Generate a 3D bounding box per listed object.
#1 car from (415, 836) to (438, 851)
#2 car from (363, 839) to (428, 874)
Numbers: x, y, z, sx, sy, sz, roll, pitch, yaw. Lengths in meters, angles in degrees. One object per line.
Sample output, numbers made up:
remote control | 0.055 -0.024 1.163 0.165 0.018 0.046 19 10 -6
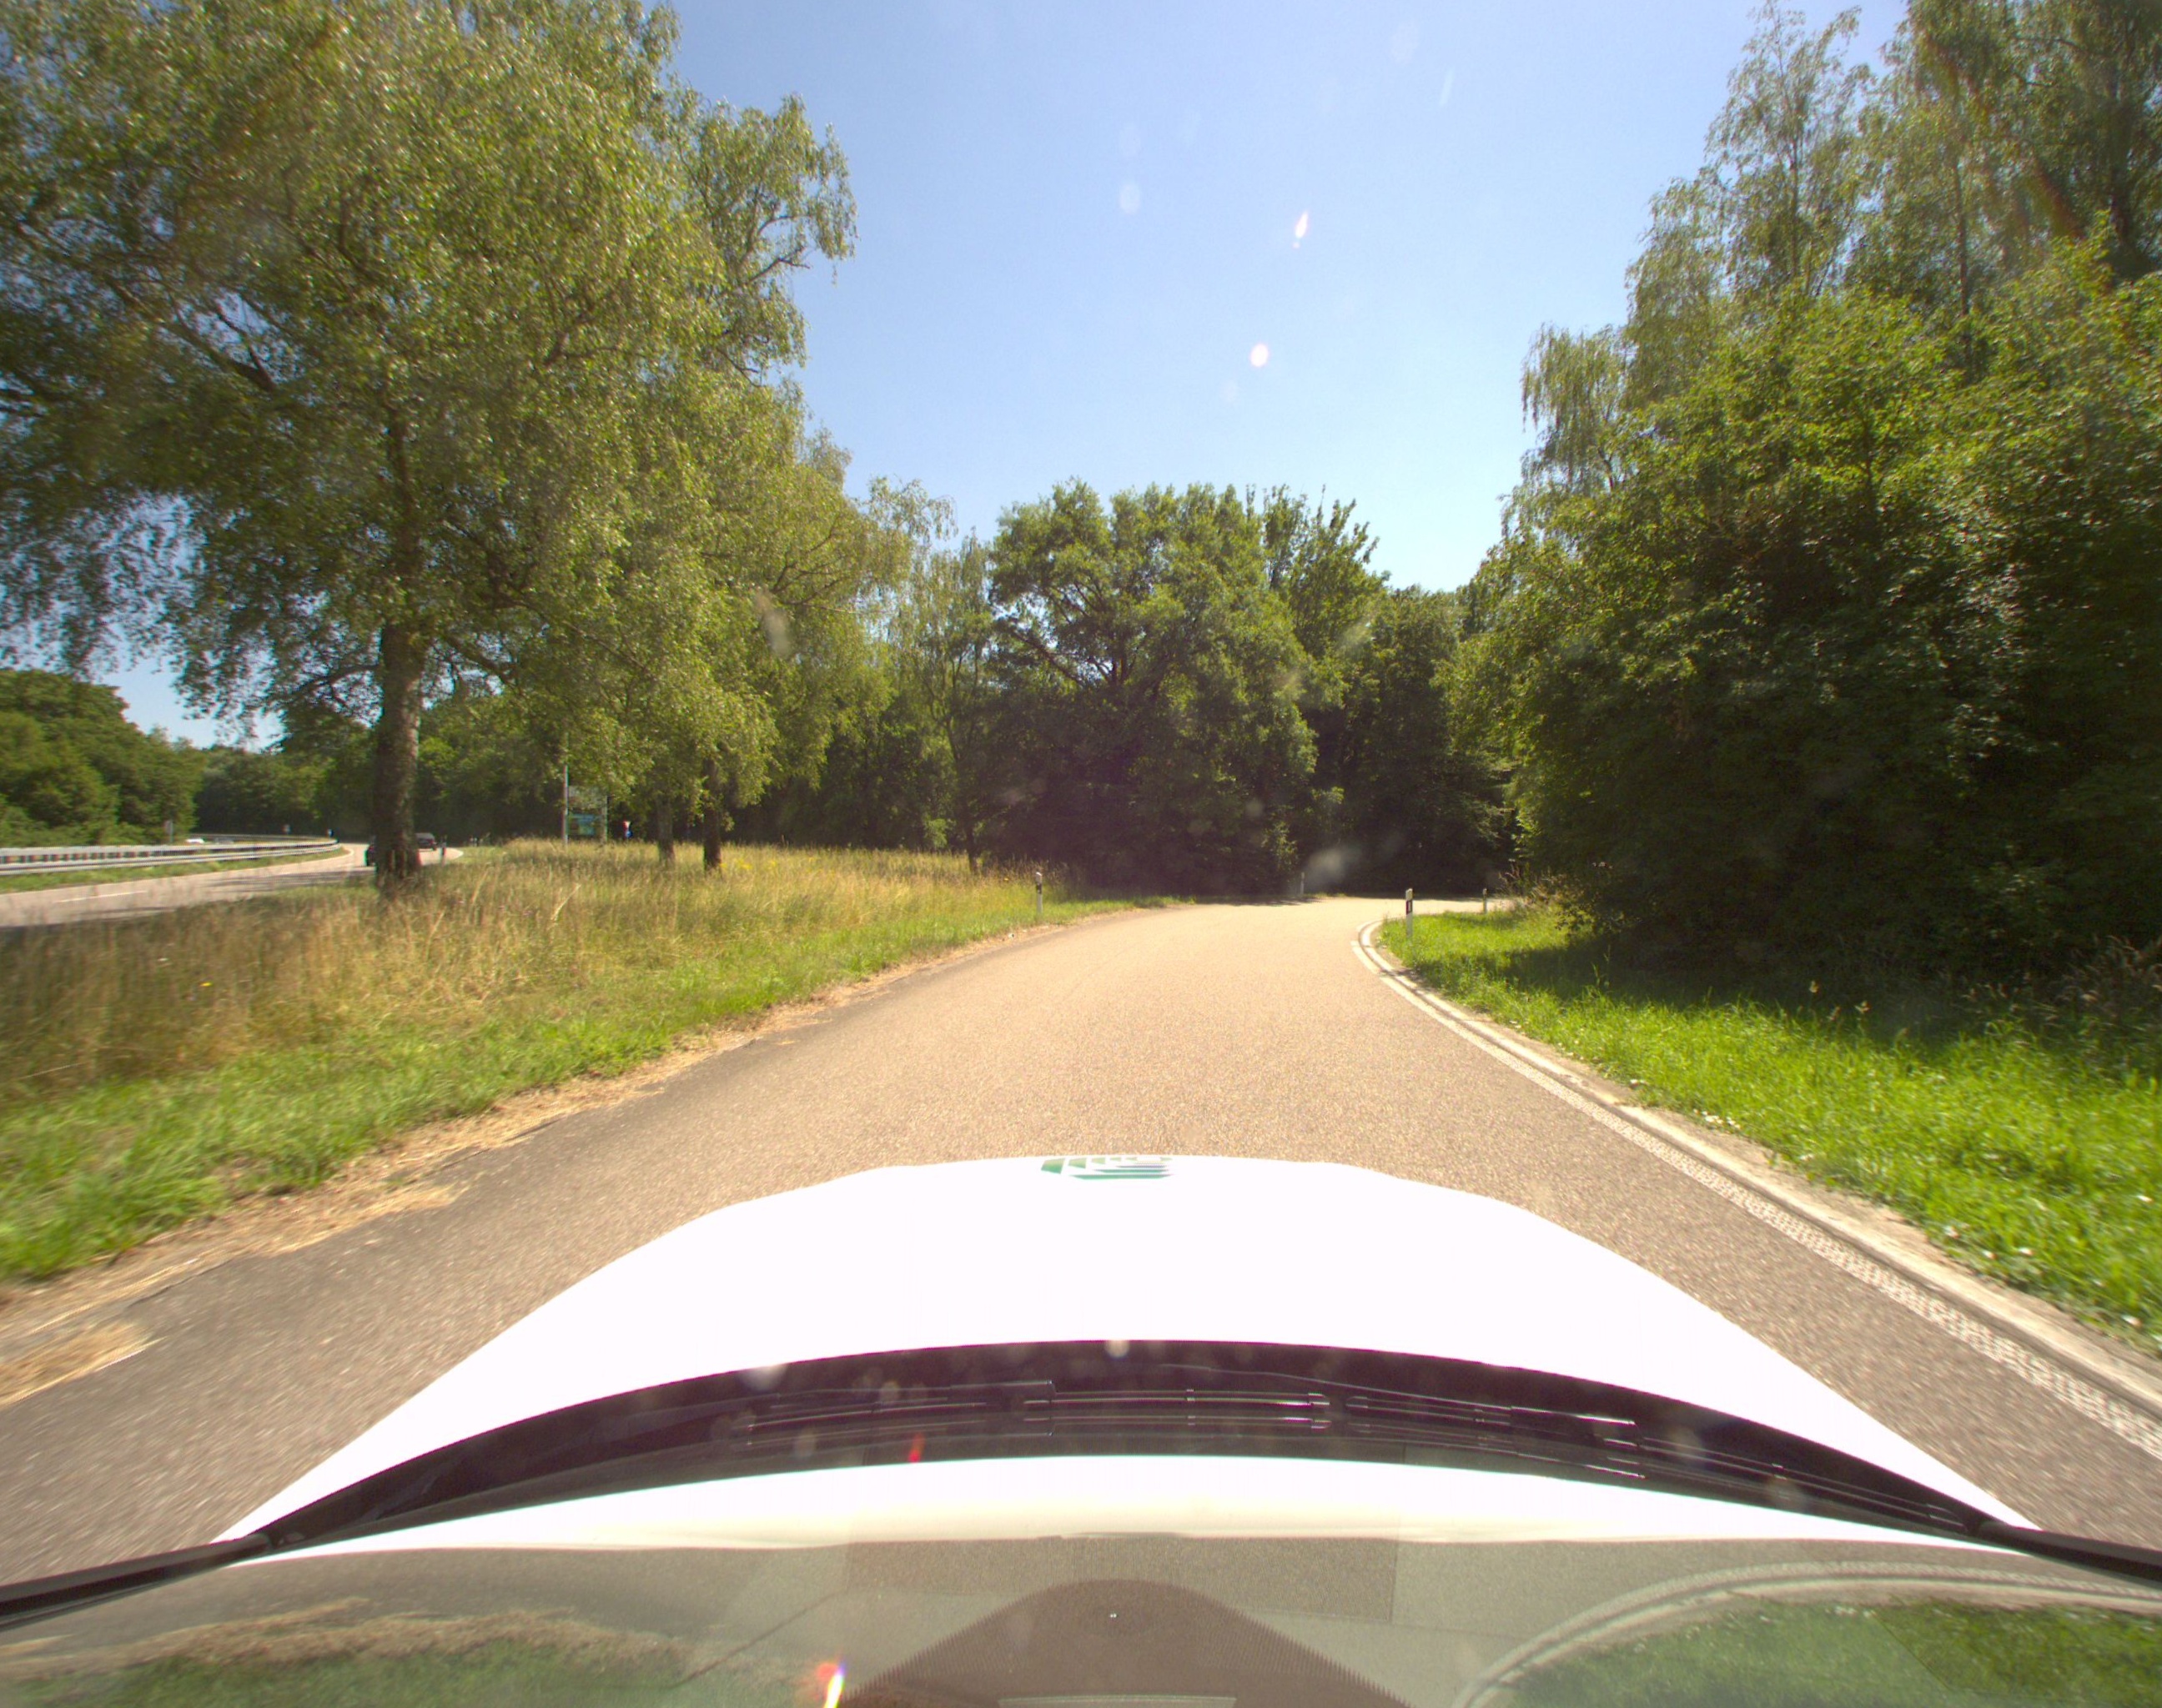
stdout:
car | -60.160 -0.950 74.892 1.537 1.313 3.376 -2 2 -38
car | -31.677 0.096 37.721 1.522 1.500 3.558 -2 2 -28
